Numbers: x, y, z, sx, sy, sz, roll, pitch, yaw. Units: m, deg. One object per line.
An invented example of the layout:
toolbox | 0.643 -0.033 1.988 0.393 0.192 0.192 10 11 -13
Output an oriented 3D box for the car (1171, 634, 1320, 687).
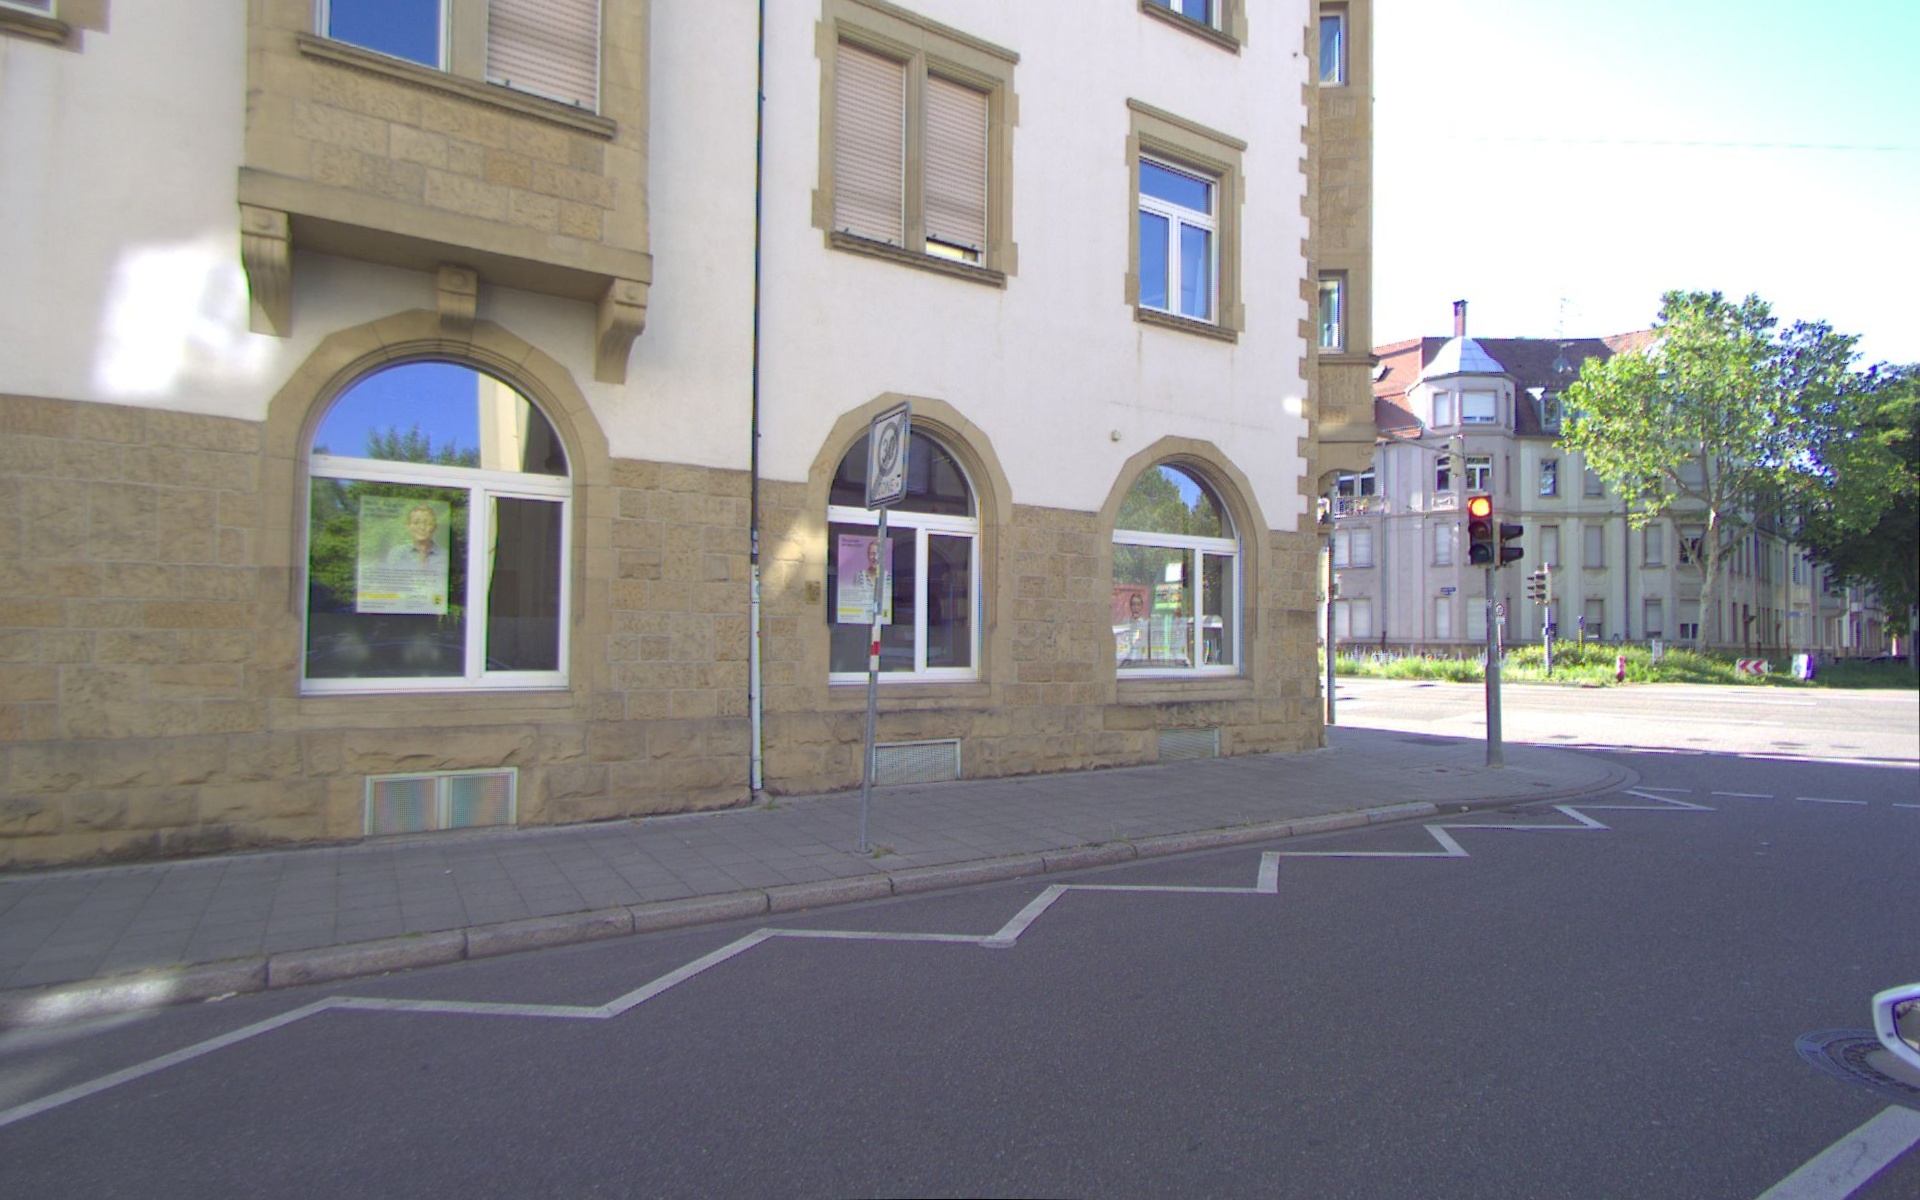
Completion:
car | 8.605 1.795 30.492 3.944 1.336 1.812 2 -1 43

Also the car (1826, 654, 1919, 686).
car | 45.806 3.448 50.096 3.943 1.505 1.673 -2 -3 42
